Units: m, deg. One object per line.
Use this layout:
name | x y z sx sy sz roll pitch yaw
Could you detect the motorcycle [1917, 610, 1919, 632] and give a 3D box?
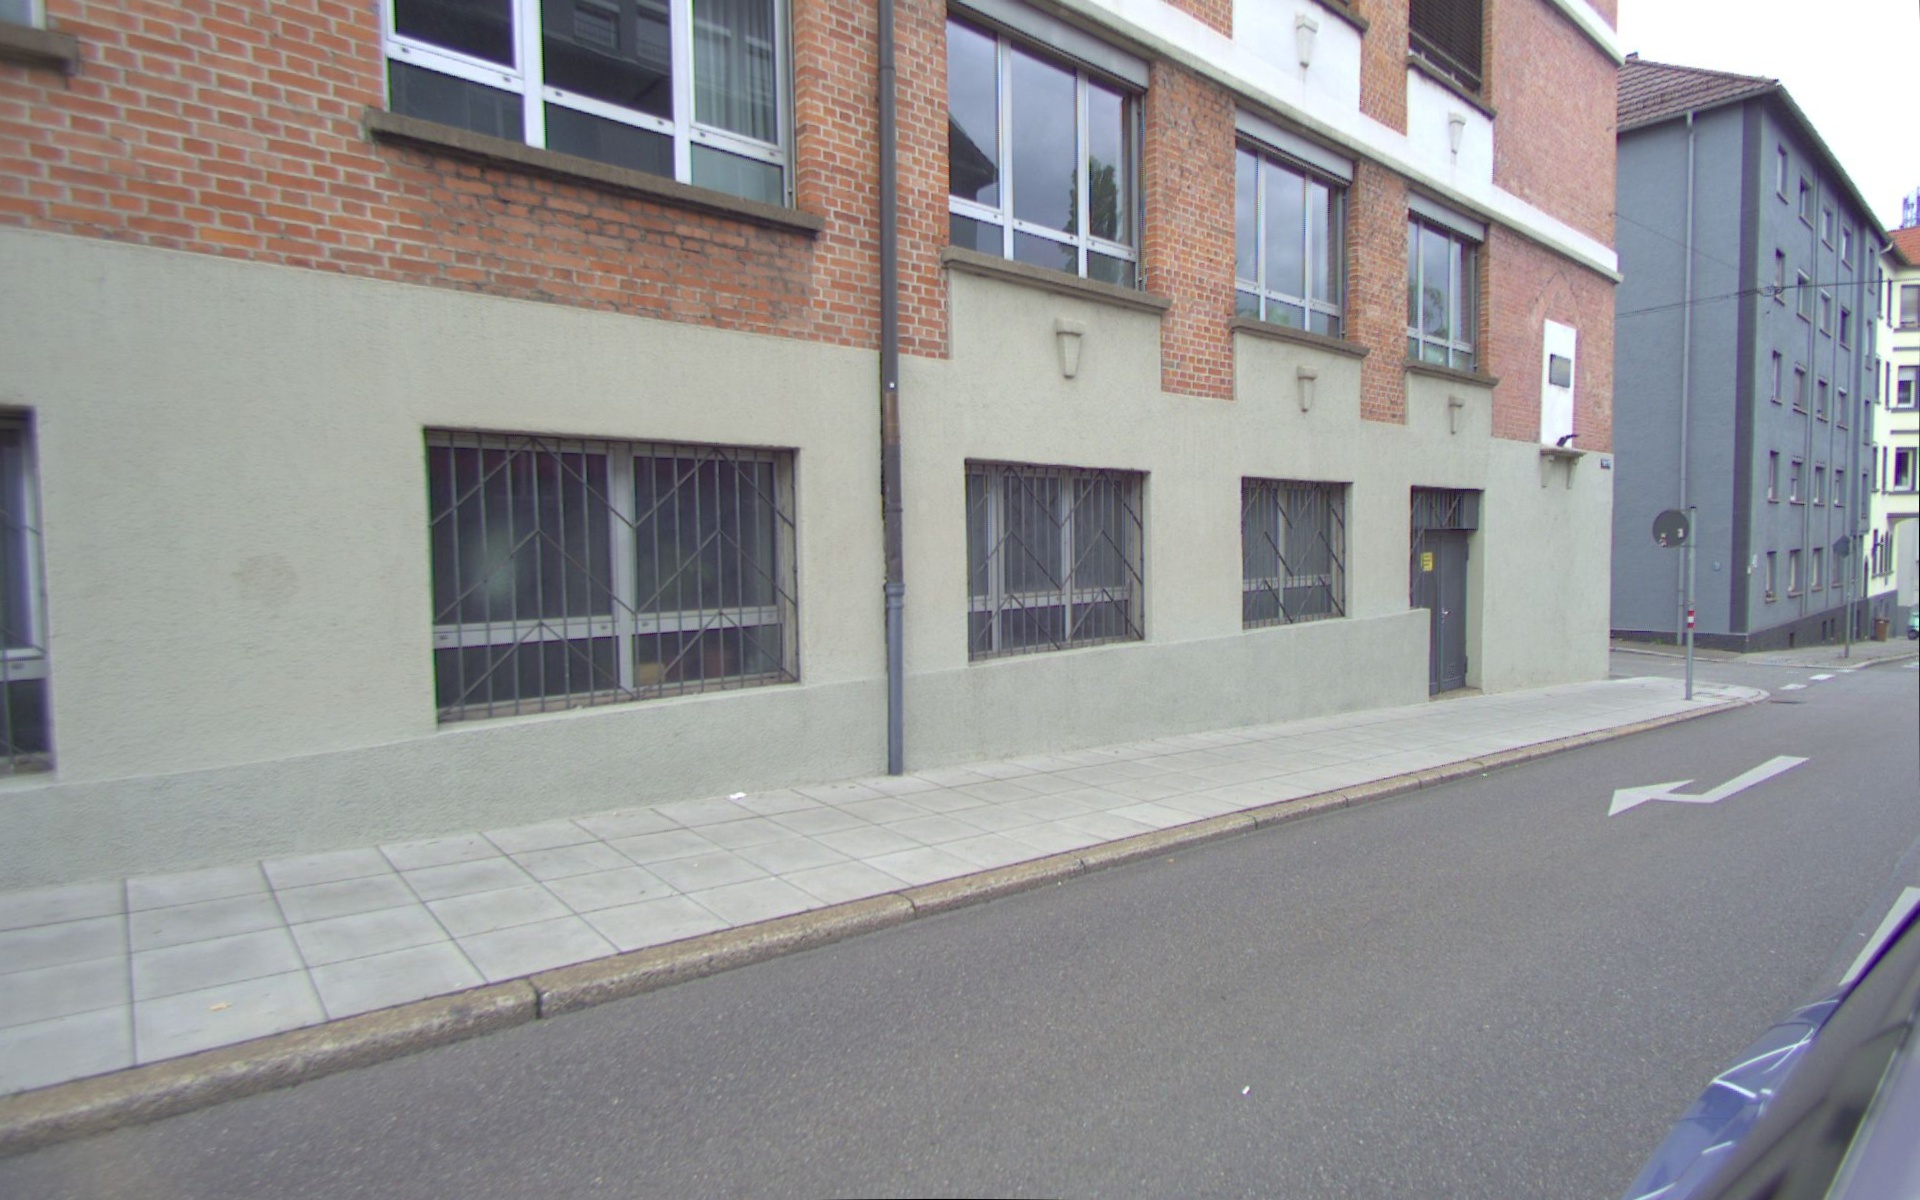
motorcycle | 41.144 0.827 42.887 1.624 1.125 0.566 0 6 -40
